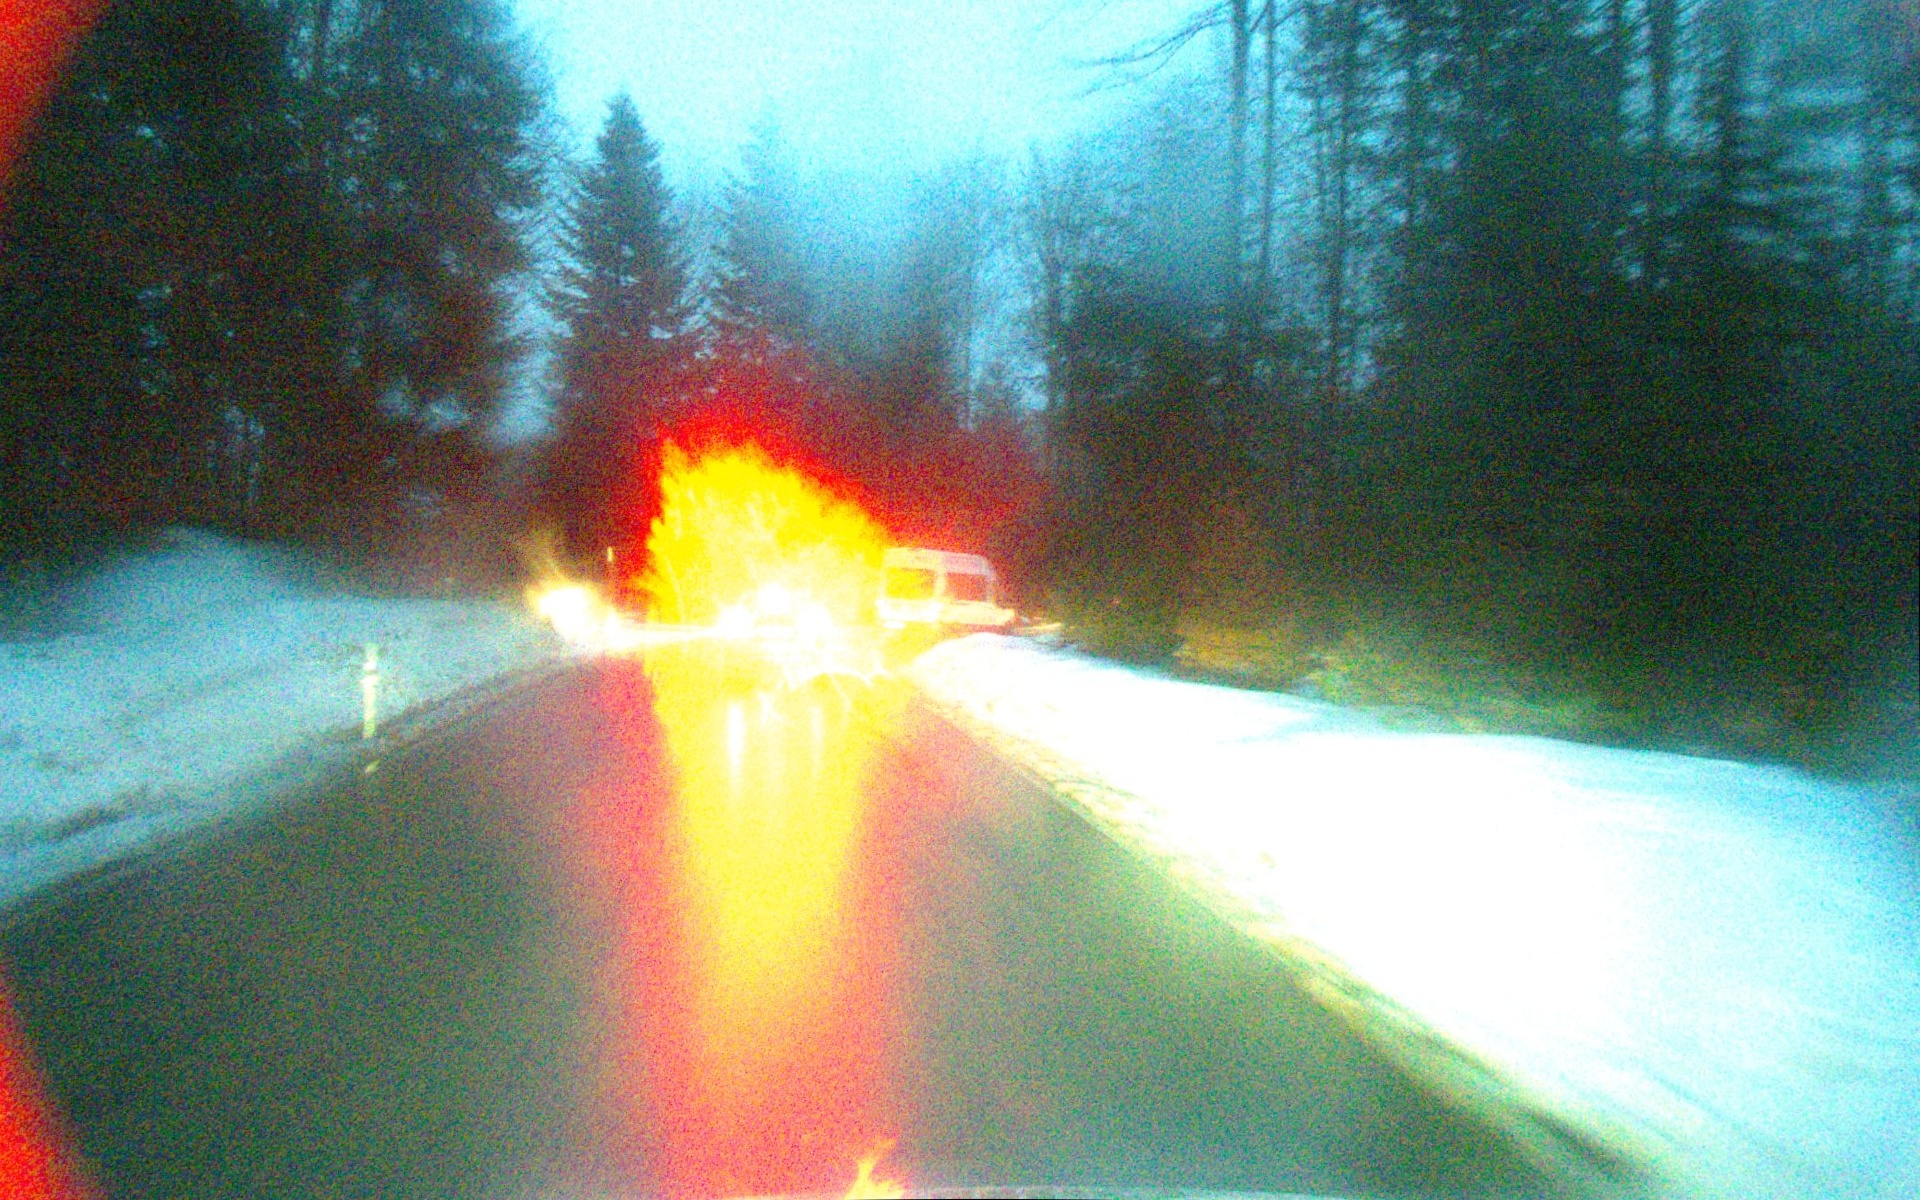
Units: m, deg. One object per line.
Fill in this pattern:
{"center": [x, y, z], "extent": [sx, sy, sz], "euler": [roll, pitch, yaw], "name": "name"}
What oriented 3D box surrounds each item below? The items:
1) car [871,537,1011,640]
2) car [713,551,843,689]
{"center": [-0.456, -0.337, 46.769], "extent": [2.206, 2.691, 5.006], "euler": [2, 1, 21], "name": "car"}
{"center": [-2.934, 0.312, 27.379], "extent": [1.954, 2.088, 3.996], "euler": [-1, 0, -4], "name": "car"}
